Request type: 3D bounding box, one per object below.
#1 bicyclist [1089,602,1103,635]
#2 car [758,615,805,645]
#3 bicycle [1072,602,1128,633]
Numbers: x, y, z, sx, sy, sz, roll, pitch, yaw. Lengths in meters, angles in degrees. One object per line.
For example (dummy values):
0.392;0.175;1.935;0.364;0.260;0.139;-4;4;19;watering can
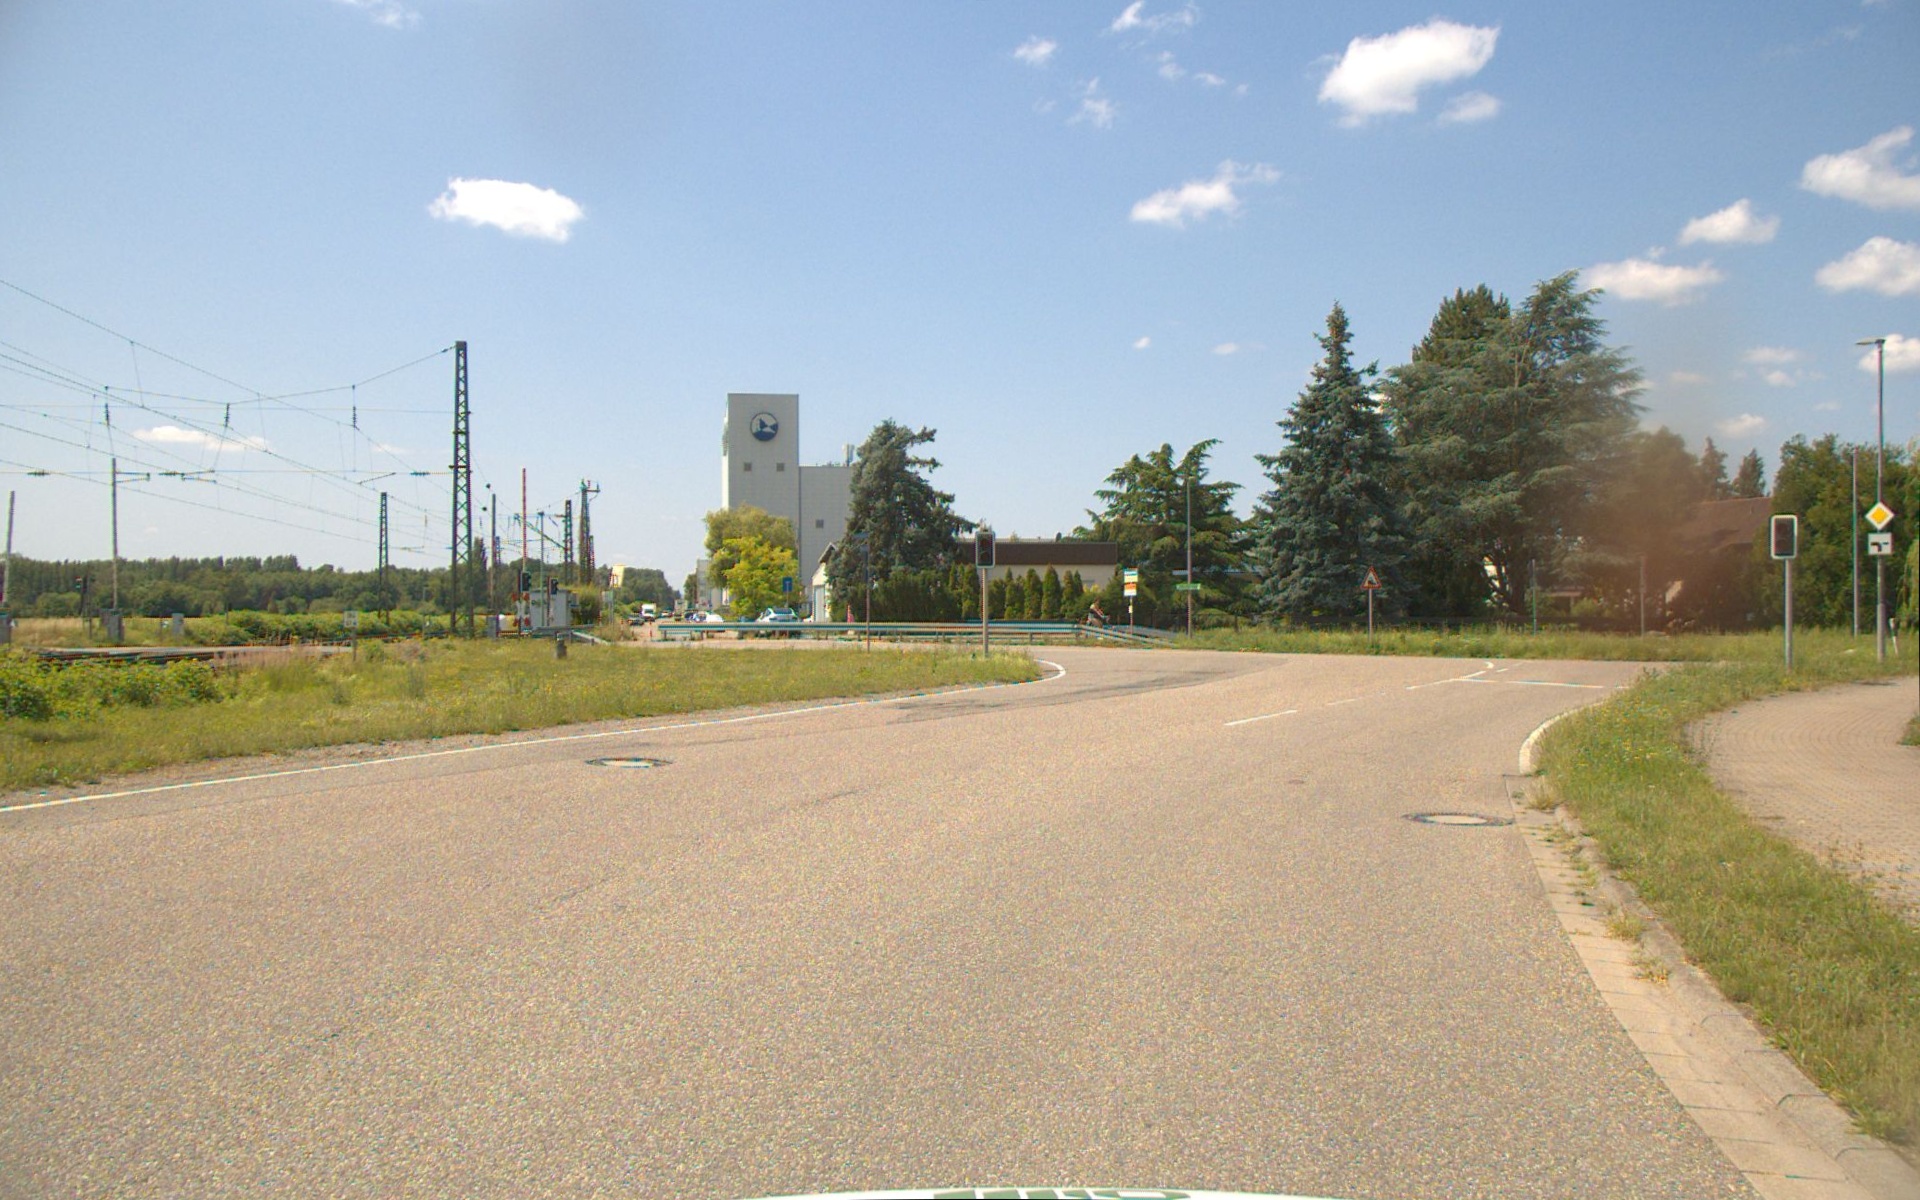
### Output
5.253;0.717;63.809;0.499;1.277;0.470;0;0;13;bicyclist
-9.883;1.641;91.427;1.960;1.536;4.437;0;0;-14;car
5.399;0.679;63.847;2.094;1.185;0.662;0;0;13;bicycle
